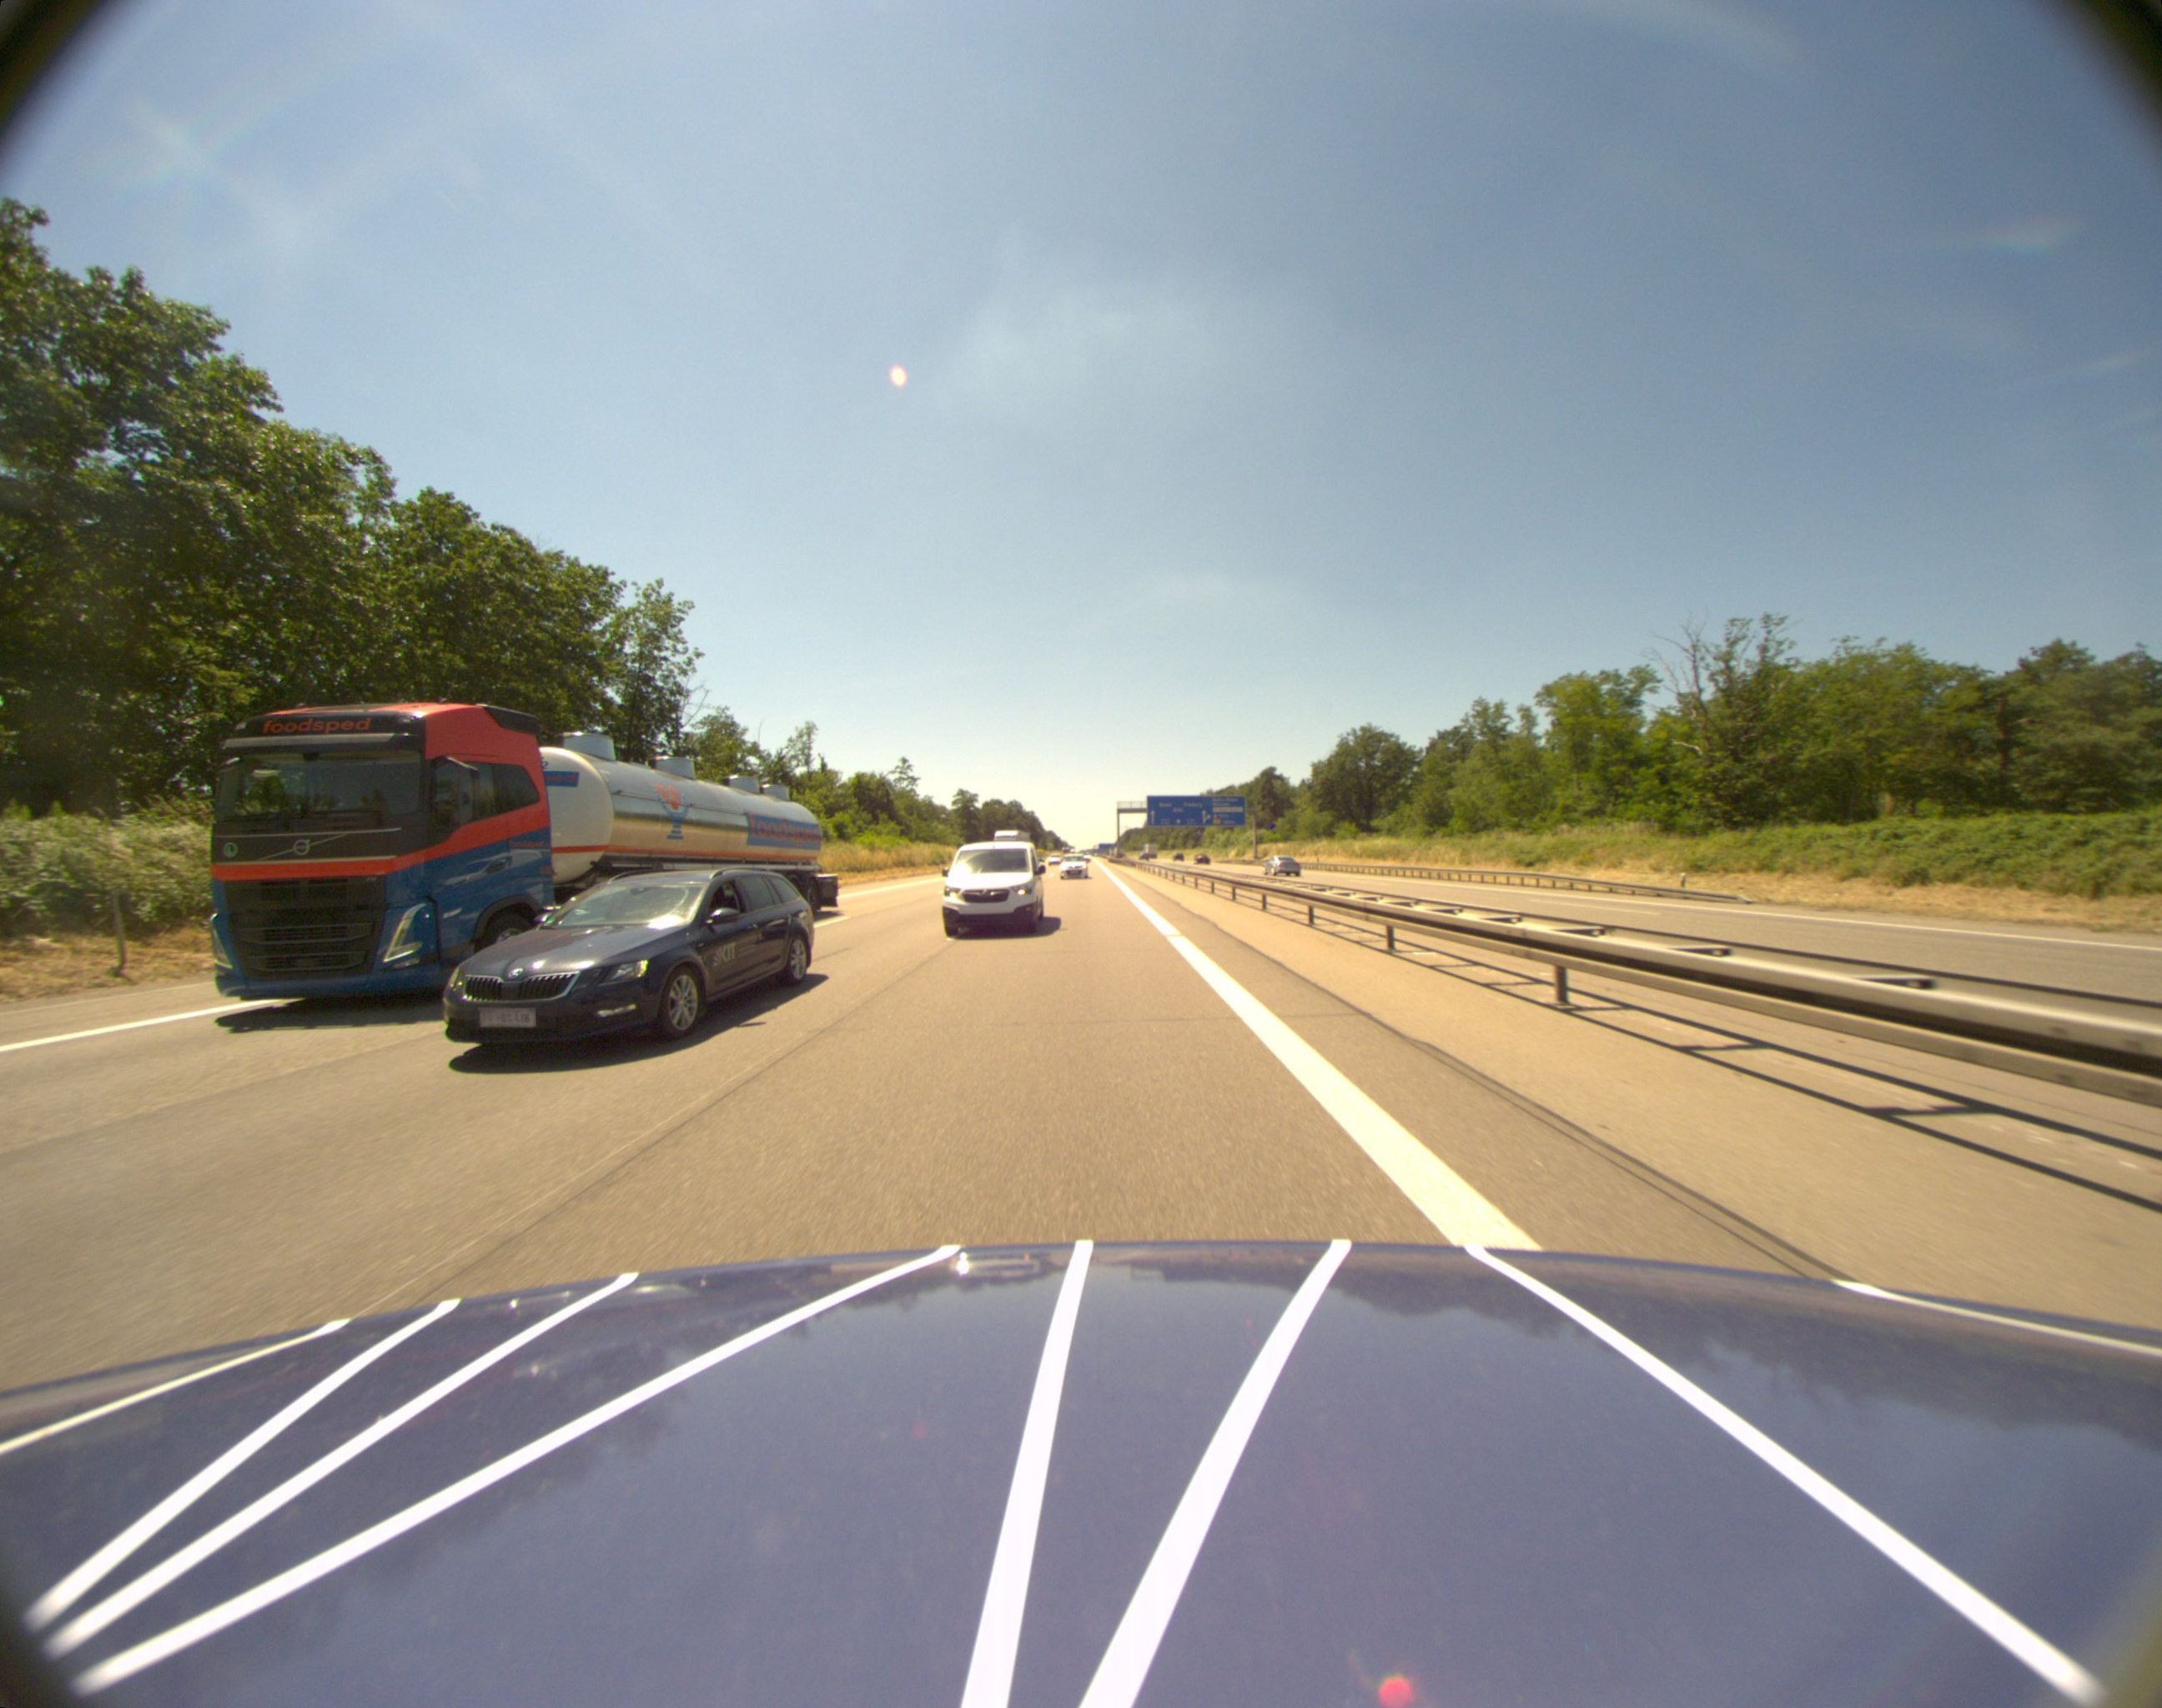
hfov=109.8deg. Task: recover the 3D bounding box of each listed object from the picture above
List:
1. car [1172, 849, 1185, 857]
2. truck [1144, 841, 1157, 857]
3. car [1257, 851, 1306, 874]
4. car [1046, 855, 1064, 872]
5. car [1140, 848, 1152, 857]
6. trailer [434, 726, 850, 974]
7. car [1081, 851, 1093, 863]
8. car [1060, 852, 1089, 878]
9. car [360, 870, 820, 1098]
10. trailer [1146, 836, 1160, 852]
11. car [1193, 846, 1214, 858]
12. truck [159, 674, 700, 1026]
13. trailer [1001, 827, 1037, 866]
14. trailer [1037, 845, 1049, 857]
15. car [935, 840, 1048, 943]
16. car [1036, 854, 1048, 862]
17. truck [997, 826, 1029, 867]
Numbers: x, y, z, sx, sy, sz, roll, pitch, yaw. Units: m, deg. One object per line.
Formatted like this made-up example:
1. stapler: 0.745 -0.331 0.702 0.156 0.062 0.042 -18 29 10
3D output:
1. car: 18.930 -0.258 147.431 1.836 1.545 4.949 1 1 0
2. truck: 19.948 -1.351 218.885 3.065 4.532 10.458 0 0 1
3. car: 13.633 0.535 51.911 1.967 1.420 5.289 1 1 0
4. car: -3.278 1.227 97.437 1.998 2.002 4.000 -2 1 1
5. car: 13.202 -0.313 154.297 1.967 1.708 5.289 1 1 0
6. trailer: -8.489 -0.109 17.436 2.535 3.712 11.547 -2 1 1
7. car: 1.065 0.590 138.071 1.998 2.002 4.000 -2 1 1
8. car: -0.337 0.606 45.127 1.581 1.412 3.352 -2 1 1
9. car: -4.325 1.000 7.693 1.806 1.475 4.271 -2 1 0
10. trailer: 19.765 -2.794 209.142 3.065 4.258 8.634 0 0 1
11. car: 16.373 -0.246 102.057 1.967 1.516 5.289 1 1 0
12. truck: -8.577 -0.056 11.282 2.535 3.712 6.098 -2 1 1
13. trailer: -6.924 -0.835 86.399 2.603 3.980 14.079 -2 1 1
14. trailer: -7.105 -0.515 141.501 1.849 2.196 3.197 -2 1 1
15. car: -1.747 0.672 16.382 1.871 1.807 4.940 -2 1 -1
16. car: -7.082 0.689 138.255 1.845 1.275 3.352 -2 1 1
17. truck: -6.988 -0.774 79.055 2.603 3.980 6.173 -2 1 1
